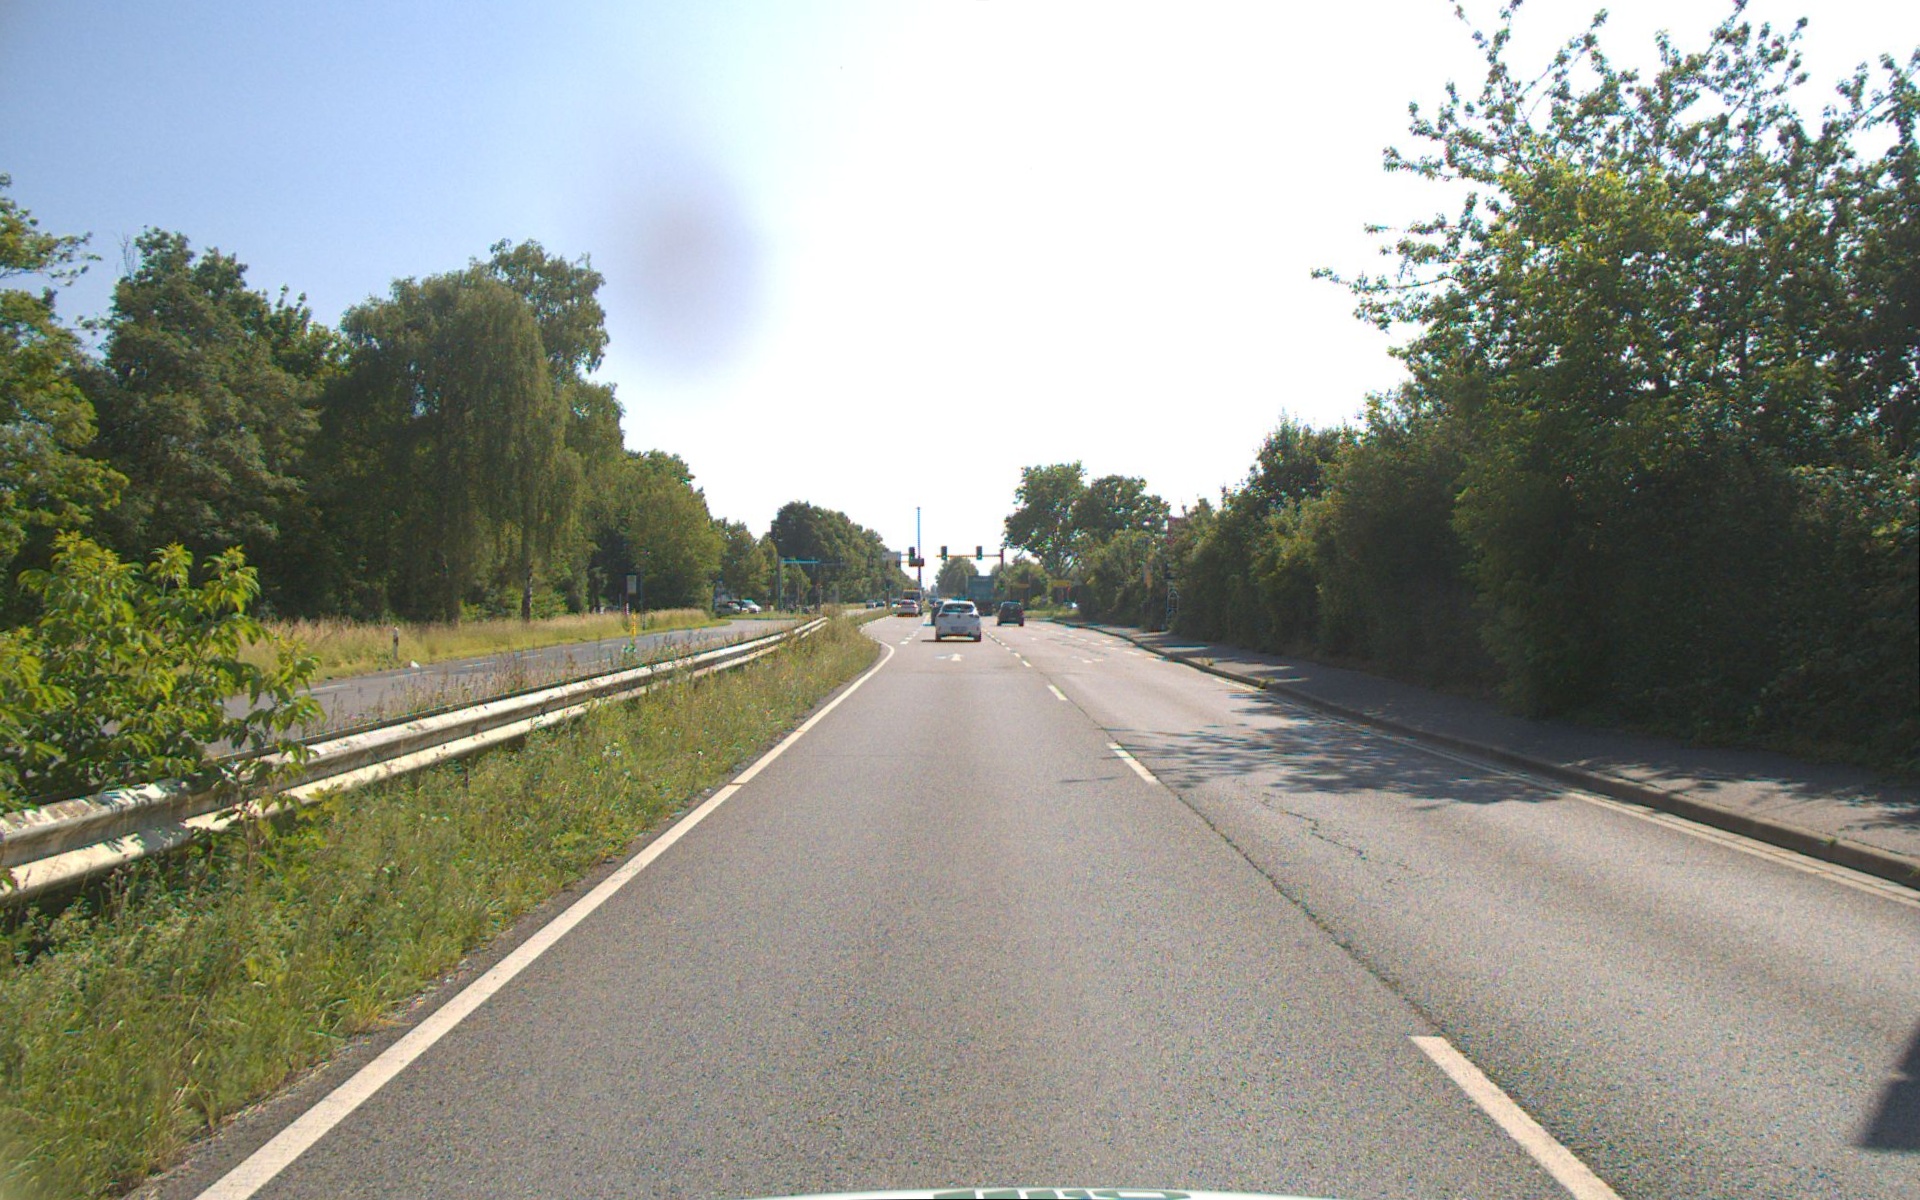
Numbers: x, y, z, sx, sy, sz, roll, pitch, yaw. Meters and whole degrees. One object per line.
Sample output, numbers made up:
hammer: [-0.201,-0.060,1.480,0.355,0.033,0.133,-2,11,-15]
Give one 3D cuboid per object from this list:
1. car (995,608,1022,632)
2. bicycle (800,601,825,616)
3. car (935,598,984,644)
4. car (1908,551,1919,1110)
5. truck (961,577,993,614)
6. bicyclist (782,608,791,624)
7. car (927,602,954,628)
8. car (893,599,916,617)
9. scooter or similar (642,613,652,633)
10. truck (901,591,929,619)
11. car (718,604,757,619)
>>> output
car: [2.965,1.236,102.044,1.540,1.439,3.277,0,-1,-1]
bicycle: [-17.629,1.043,197.826,2.737,1.699,1.135,-1,0,27]
car: [-0.017,0.747,61.004,1.762,1.580,4.000,1,0,0]
car: [3.918,0.726,2.805,1.863,1.709,4.682,1,0,-1]
truck: [1.626,-0.460,161.366,2.833,3.488,9.167,-1,0,-1]
bicyclist: [-17.548,1.605,167.149,0.829,1.544,0.747,0,0,4]
car: [-1.146,0.889,97.713,1.540,1.439,3.276,1,-2,-1]
car: [-4.886,0.705,146.740,1.775,1.490,4.971,2,0,1]
scooter or similar: [-19.184,1.415,101.414,0.360,1.206,1.340,-2,-1,-1]
truck: [-4.198,0.433,153.858,2.325,2.430,6.041,2,0,0]
car: [-25.537,1.296,189.604,4.180,1.634,1.998,-1,0,35]
